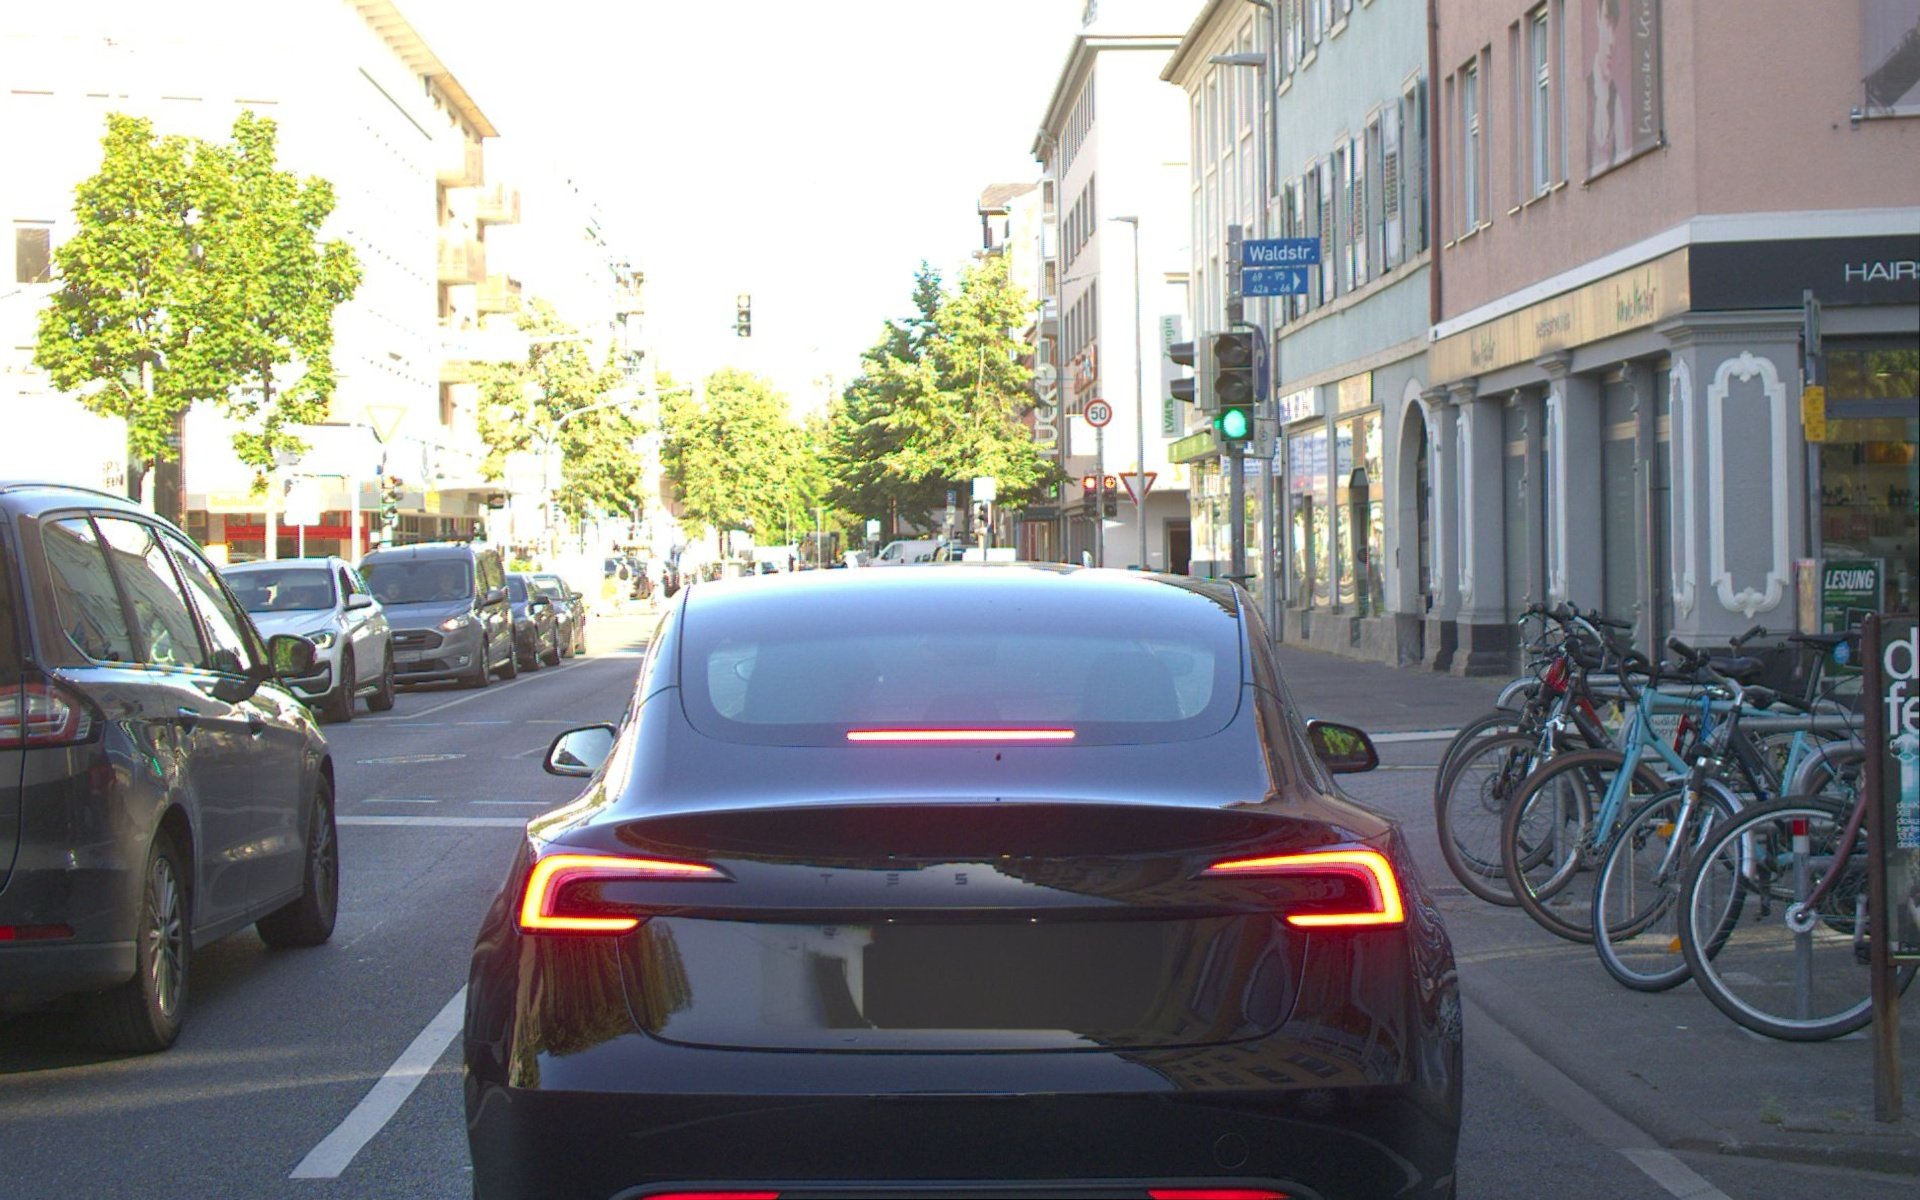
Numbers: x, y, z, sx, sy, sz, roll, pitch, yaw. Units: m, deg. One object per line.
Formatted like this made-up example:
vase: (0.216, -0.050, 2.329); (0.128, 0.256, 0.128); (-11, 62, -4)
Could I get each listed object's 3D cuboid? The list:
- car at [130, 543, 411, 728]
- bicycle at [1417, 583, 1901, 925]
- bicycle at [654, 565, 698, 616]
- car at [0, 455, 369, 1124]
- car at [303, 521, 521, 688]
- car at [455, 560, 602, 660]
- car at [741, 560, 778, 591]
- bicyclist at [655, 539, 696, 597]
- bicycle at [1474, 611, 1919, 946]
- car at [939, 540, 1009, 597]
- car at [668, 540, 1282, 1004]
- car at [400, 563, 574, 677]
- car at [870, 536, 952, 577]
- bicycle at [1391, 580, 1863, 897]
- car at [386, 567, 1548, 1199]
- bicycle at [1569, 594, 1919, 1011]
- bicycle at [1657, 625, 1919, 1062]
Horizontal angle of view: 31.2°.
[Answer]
car: (-6.626, 0.288, 33.474); (1.807, 1.550, 4.310); (-4, 1, 0)
bicycle: (2.743, 0.592, 13.632); (1.746, 1.262, 0.781); (-2, 1, 3)
bicycle: (-7.885, -0.281, 95.514); (1.111, 1.340, 4.001); (0, 1, -3)
car: (-3.309, 0.475, 11.423); (1.993, 1.766, 4.729); (-1, 1, -2)
car: (-6.710, 0.005, 42.555); (1.834, 1.838, 4.674); (-4, 1, 0)
car: (-7.105, 0.131, 57.007); (1.993, 1.431, 4.675); (-4, 1, -3)
car: (-10.924, -1.344, 187.059); (1.993, 1.631, 4.001); (0, 1, -3)
bicyclist: (-7.902, -0.896, 95.598); (1.126, 1.623, 0.965); (0, 1, -3)
bicycle: (2.809, 0.628, 12.453); (1.798, 1.120, 0.781); (-2, 1, 5)
car: (0.381, -0.941, 100.779); (1.993, 1.623, 4.000); (0, 1, 0)
car: (-0.018, 0.523, 13.259); (1.993, 1.507, 4.176); (0, 1, -2)
car: (-6.740, 0.249, 49.416); (1.993, 1.405, 4.675); (-4, 1, -3)
car: (-2.404, -2.125, 167.537); (3.986, 2.007, 2.000); (0, 1, -2)
bicycle: (2.812, 0.575, 14.662); (1.862, 1.253, 0.832); (-2, 1, 5)
car: (-0.008, 0.659, 7.484); (1.848, 1.450, 4.000); (0, 1, -1)
bicycle: (2.888, 0.626, 11.102); (1.722, 1.263, 0.790); (-2, 1, 5)
bicycle: (3.034, 0.675, 9.970); (1.886, 1.189, 0.691); (-2, 1, 5)
